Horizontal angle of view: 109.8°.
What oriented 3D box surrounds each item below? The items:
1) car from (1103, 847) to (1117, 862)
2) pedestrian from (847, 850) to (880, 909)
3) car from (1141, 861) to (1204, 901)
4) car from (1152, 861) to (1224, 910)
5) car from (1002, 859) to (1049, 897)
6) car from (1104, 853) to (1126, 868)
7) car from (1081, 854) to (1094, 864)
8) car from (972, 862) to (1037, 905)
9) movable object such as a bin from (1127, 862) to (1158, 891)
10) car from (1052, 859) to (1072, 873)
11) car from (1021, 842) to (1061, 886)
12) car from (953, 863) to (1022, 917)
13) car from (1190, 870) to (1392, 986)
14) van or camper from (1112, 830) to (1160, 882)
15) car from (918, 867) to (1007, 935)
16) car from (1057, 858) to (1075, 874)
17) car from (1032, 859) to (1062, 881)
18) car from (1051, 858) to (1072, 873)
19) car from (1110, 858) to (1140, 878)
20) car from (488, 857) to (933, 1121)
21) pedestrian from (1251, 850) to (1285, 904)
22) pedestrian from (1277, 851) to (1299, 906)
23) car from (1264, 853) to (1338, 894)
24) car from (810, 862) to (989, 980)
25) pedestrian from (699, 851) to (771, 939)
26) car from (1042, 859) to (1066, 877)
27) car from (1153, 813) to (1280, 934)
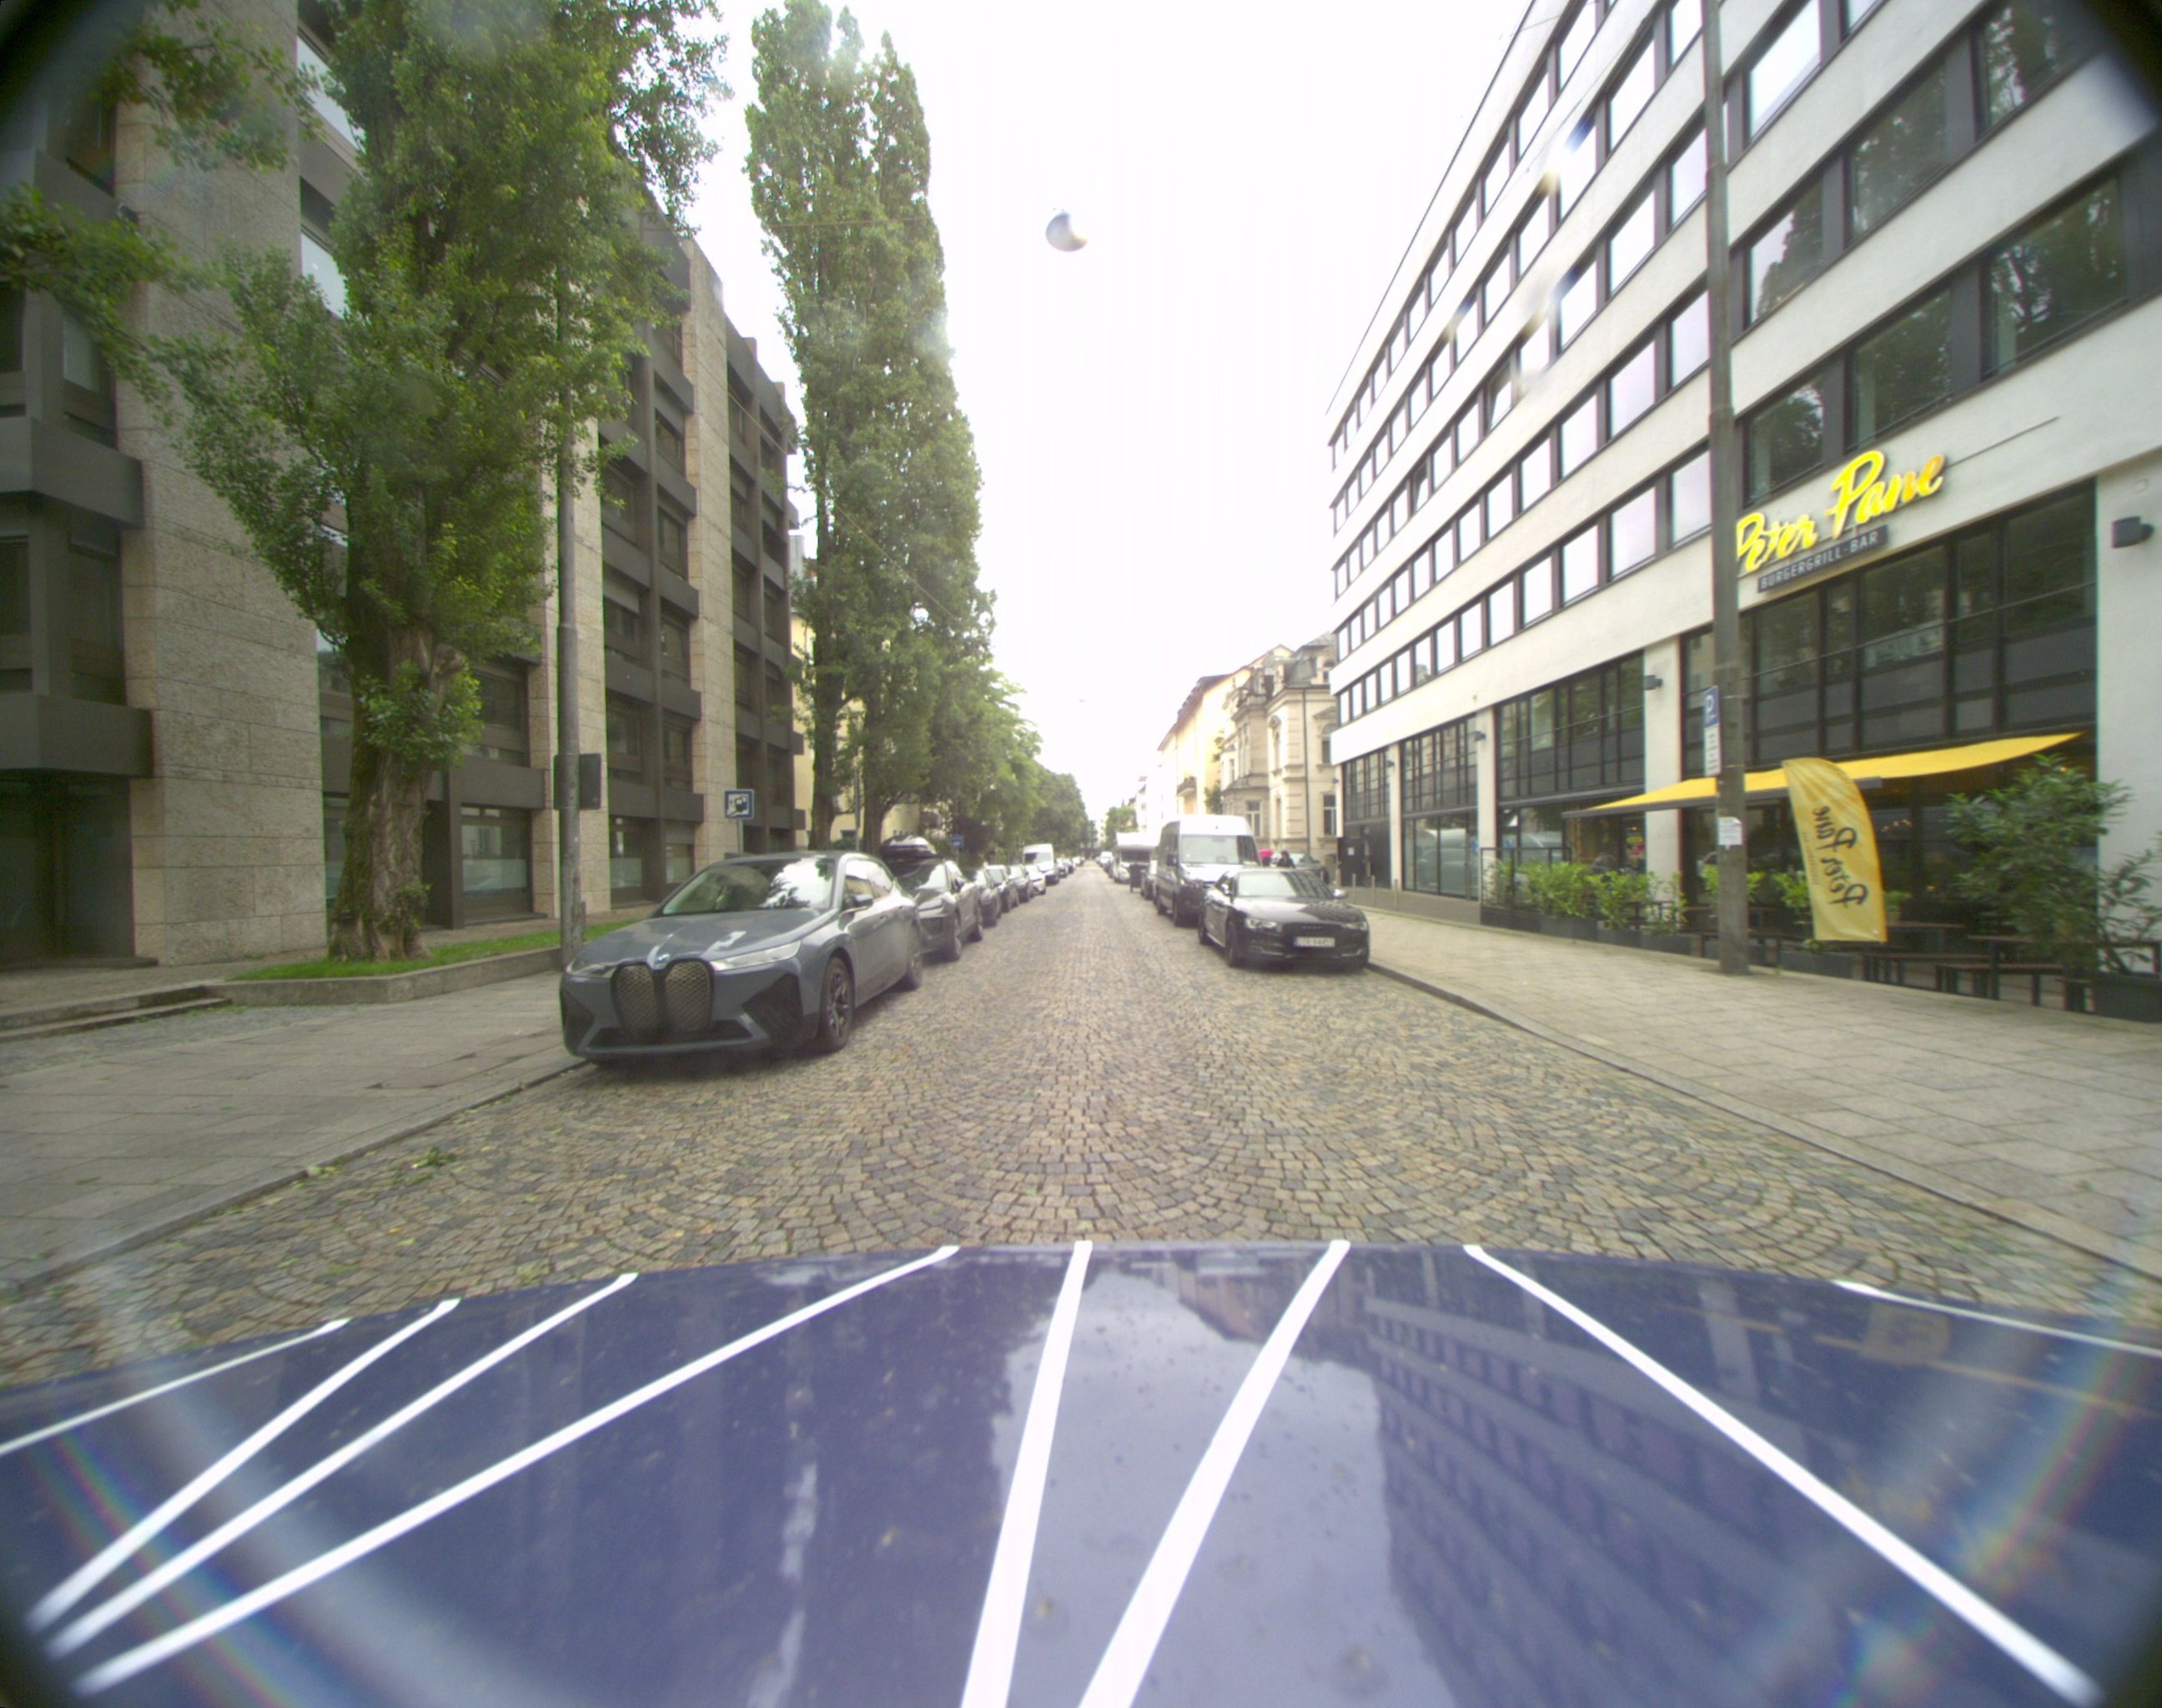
[{"bbox_3d":[5.006,0.066,132.750,2.088,2.418,5.610,-3,0,0],"label":"car"},{"bbox_3d":[-5.748,0.665,20.088,0.645,1.528,0.709,-1,1,-2],"label":"pedestrian"},{"bbox_3d":[3.452,0.982,29.400,1.998,1.380,4.000,-1,0,1],"label":"car"},{"bbox_3d":[3.392,0.968,24.801,1.998,1.422,4.001,-1,0,3],"label":"car"},{"bbox_3d":[-2.439,1.052,34.315,1.867,1.490,3.873,-3,0,-1],"label":"car"},{"bbox_3d":[3.450,0.634,77.418,1.999,1.401,3.873,-1,0,-1],"label":"car"},{"bbox_3d":[1.031,0.804,121.080,1.999,1.401,3.872,1,1,-1],"label":"car"},{"bbox_3d":[-2.826,1.081,28.914,1.998,1.379,3.873,-2,0,1],"label":"car"},{"bbox_3d":[2.813,1.021,34.733,1.255,1.290,1.174,-1,0,-3],"label":"movable object such as a bin"},{"bbox_3d":[-2.038,1.232,81.132,1.999,1.380,3.872,-1,1,-1],"label":"car"},{"bbox_3d":[-2.384,0.567,46.895,2.088,2.418,5.610,-3,0,0],"label":"car"},{"bbox_3d":[-2.859,1.078,23.952,1.604,1.422,3.562,-3,0,1],"label":"car"},{"bbox_3d":[2.913,0.967,11.531,1.998,1.322,4.116,-1,0,1],"label":"car"},{"bbox_3d":[3.435,0.093,48.759,2.464,3.029,7.317,-1,0,0],"label":"van or camper"},{"bbox_3d":[-2.887,1.100,19.387,1.724,1.382,4.204,-2,0,-2],"label":"car"},{"bbox_3d":[-1.716,1.359,86.243,1.999,1.680,3.873,-3,0,-1],"label":"car"},{"bbox_3d":[-2.355,1.099,53.222,1.999,1.379,3.873,-3,0,-1],"label":"car"},{"bbox_3d":[-1.918,1.072,74.163,1.999,1.379,3.873,-1,0,-1],"label":"car"},{"bbox_3d":[3.417,1.061,59.745,1.999,1.379,3.873,-3,0,-1],"label":"car"},{"bbox_3d":[-2.946,0.919,7.451,2.018,1.690,4.672,-2,0,0],"label":"car"},{"bbox_3d":[6.119,0.741,24.858,0.928,1.696,0.800,-1,1,4],"label":"pedestrian"},{"bbox_3d":[6.689,0.778,24.585,0.575,1.738,0.651,-1,1,7],"label":"pedestrian"},{"bbox_3d":[9.030,0.752,31.540,1.912,1.523,4.170,-1,0,2],"label":"car"},{"bbox_3d":[-2.851,0.987,13.032,1.999,1.573,4.342,-2,0,0],"label":"car"},{"bbox_3d":[-6.915,0.796,15.211,0.867,1.704,0.913,-1,1,21],"label":"pedestrian"},{"bbox_3d":[-2.295,1.158,65.480,1.999,1.379,3.873,-3,0,-1],"label":"car"},{"bbox_3d":[3.075,0.398,18.626,2.065,2.476,5.848,-1,0,0],"label":"car"}]
